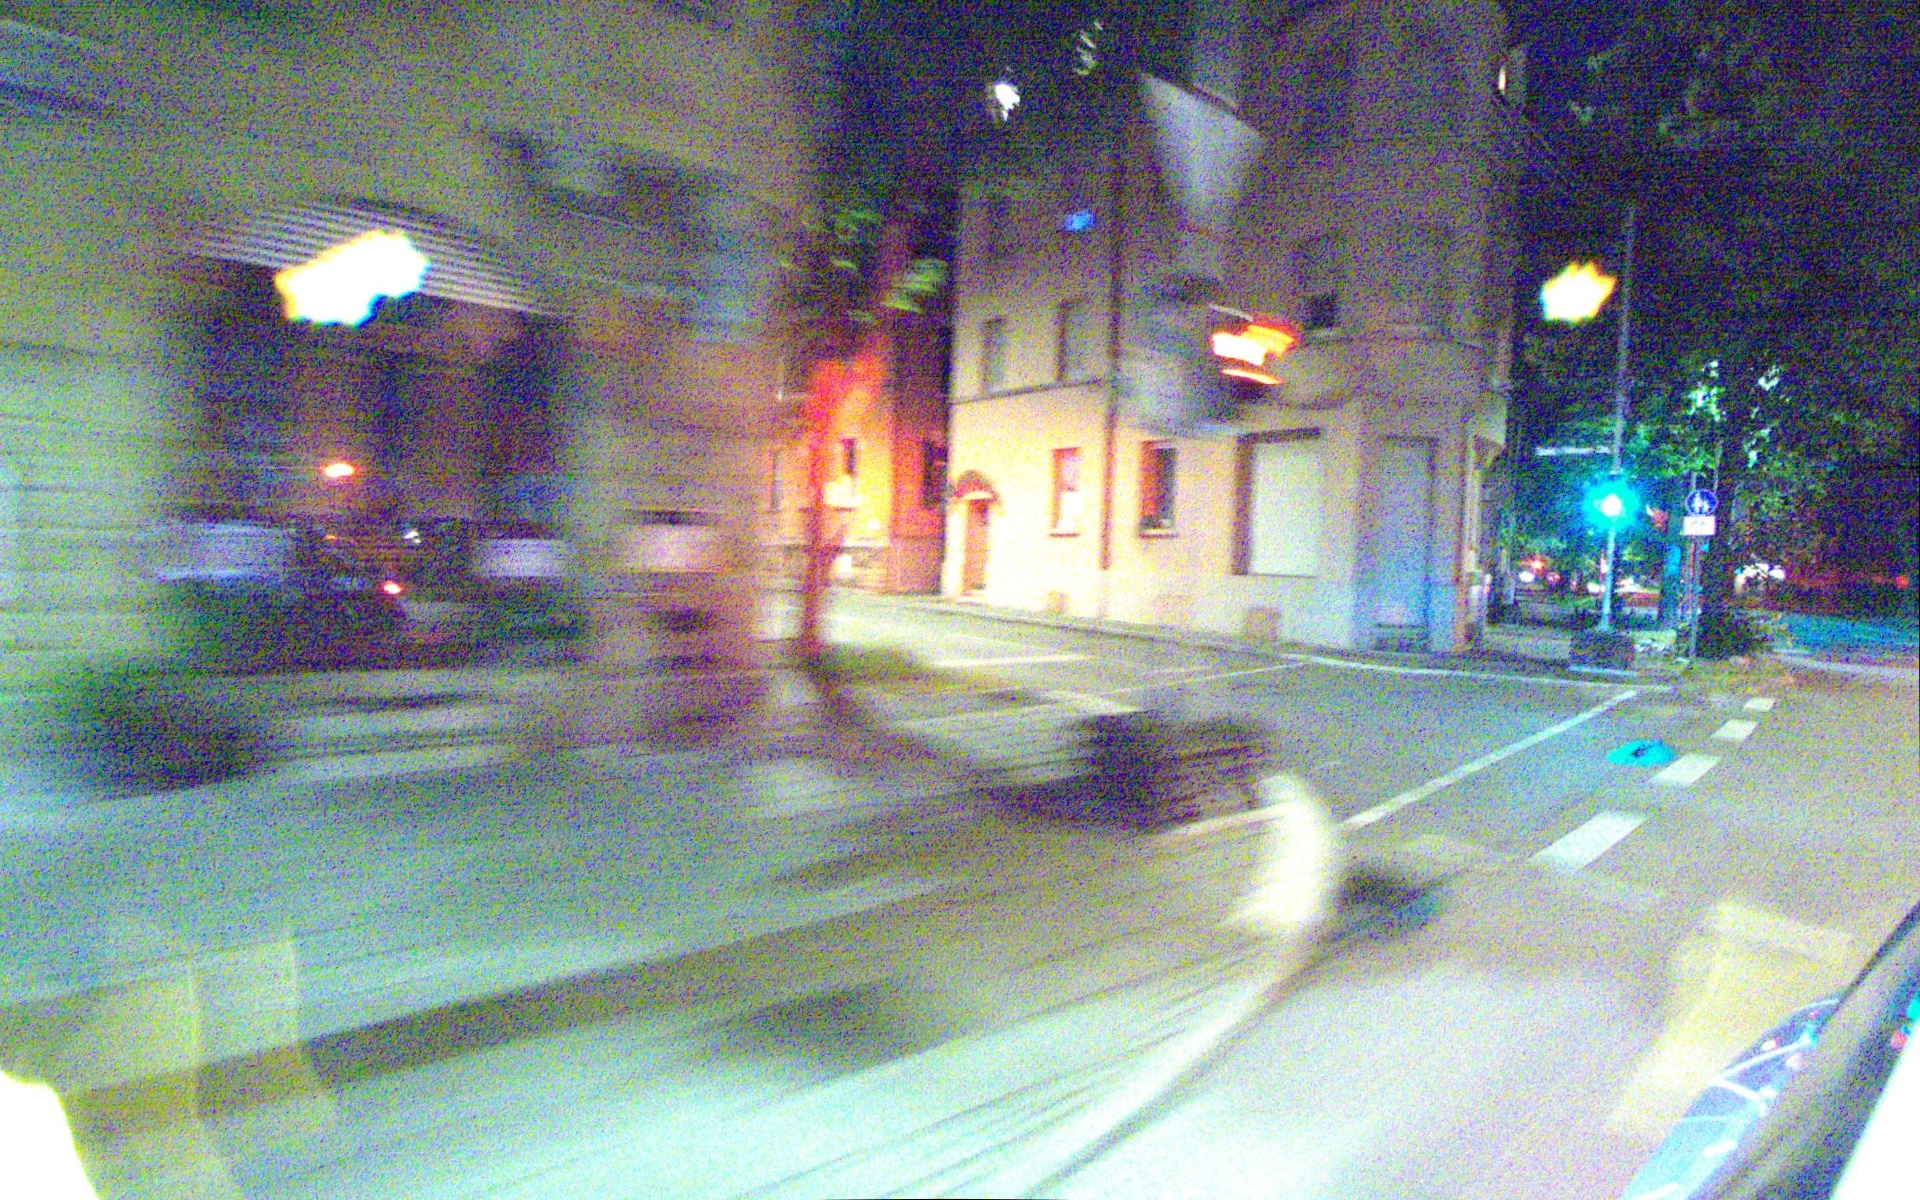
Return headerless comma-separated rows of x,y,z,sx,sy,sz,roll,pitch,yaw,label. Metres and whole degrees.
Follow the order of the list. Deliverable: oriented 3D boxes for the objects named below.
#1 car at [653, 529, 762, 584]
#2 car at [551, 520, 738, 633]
-7.404,-1.279,29.458,1.710,1.504,3.775,0,3,-37,car
-5.635,-0.506,17.770,1.835,1.713,3.999,-4,5,-37,car
